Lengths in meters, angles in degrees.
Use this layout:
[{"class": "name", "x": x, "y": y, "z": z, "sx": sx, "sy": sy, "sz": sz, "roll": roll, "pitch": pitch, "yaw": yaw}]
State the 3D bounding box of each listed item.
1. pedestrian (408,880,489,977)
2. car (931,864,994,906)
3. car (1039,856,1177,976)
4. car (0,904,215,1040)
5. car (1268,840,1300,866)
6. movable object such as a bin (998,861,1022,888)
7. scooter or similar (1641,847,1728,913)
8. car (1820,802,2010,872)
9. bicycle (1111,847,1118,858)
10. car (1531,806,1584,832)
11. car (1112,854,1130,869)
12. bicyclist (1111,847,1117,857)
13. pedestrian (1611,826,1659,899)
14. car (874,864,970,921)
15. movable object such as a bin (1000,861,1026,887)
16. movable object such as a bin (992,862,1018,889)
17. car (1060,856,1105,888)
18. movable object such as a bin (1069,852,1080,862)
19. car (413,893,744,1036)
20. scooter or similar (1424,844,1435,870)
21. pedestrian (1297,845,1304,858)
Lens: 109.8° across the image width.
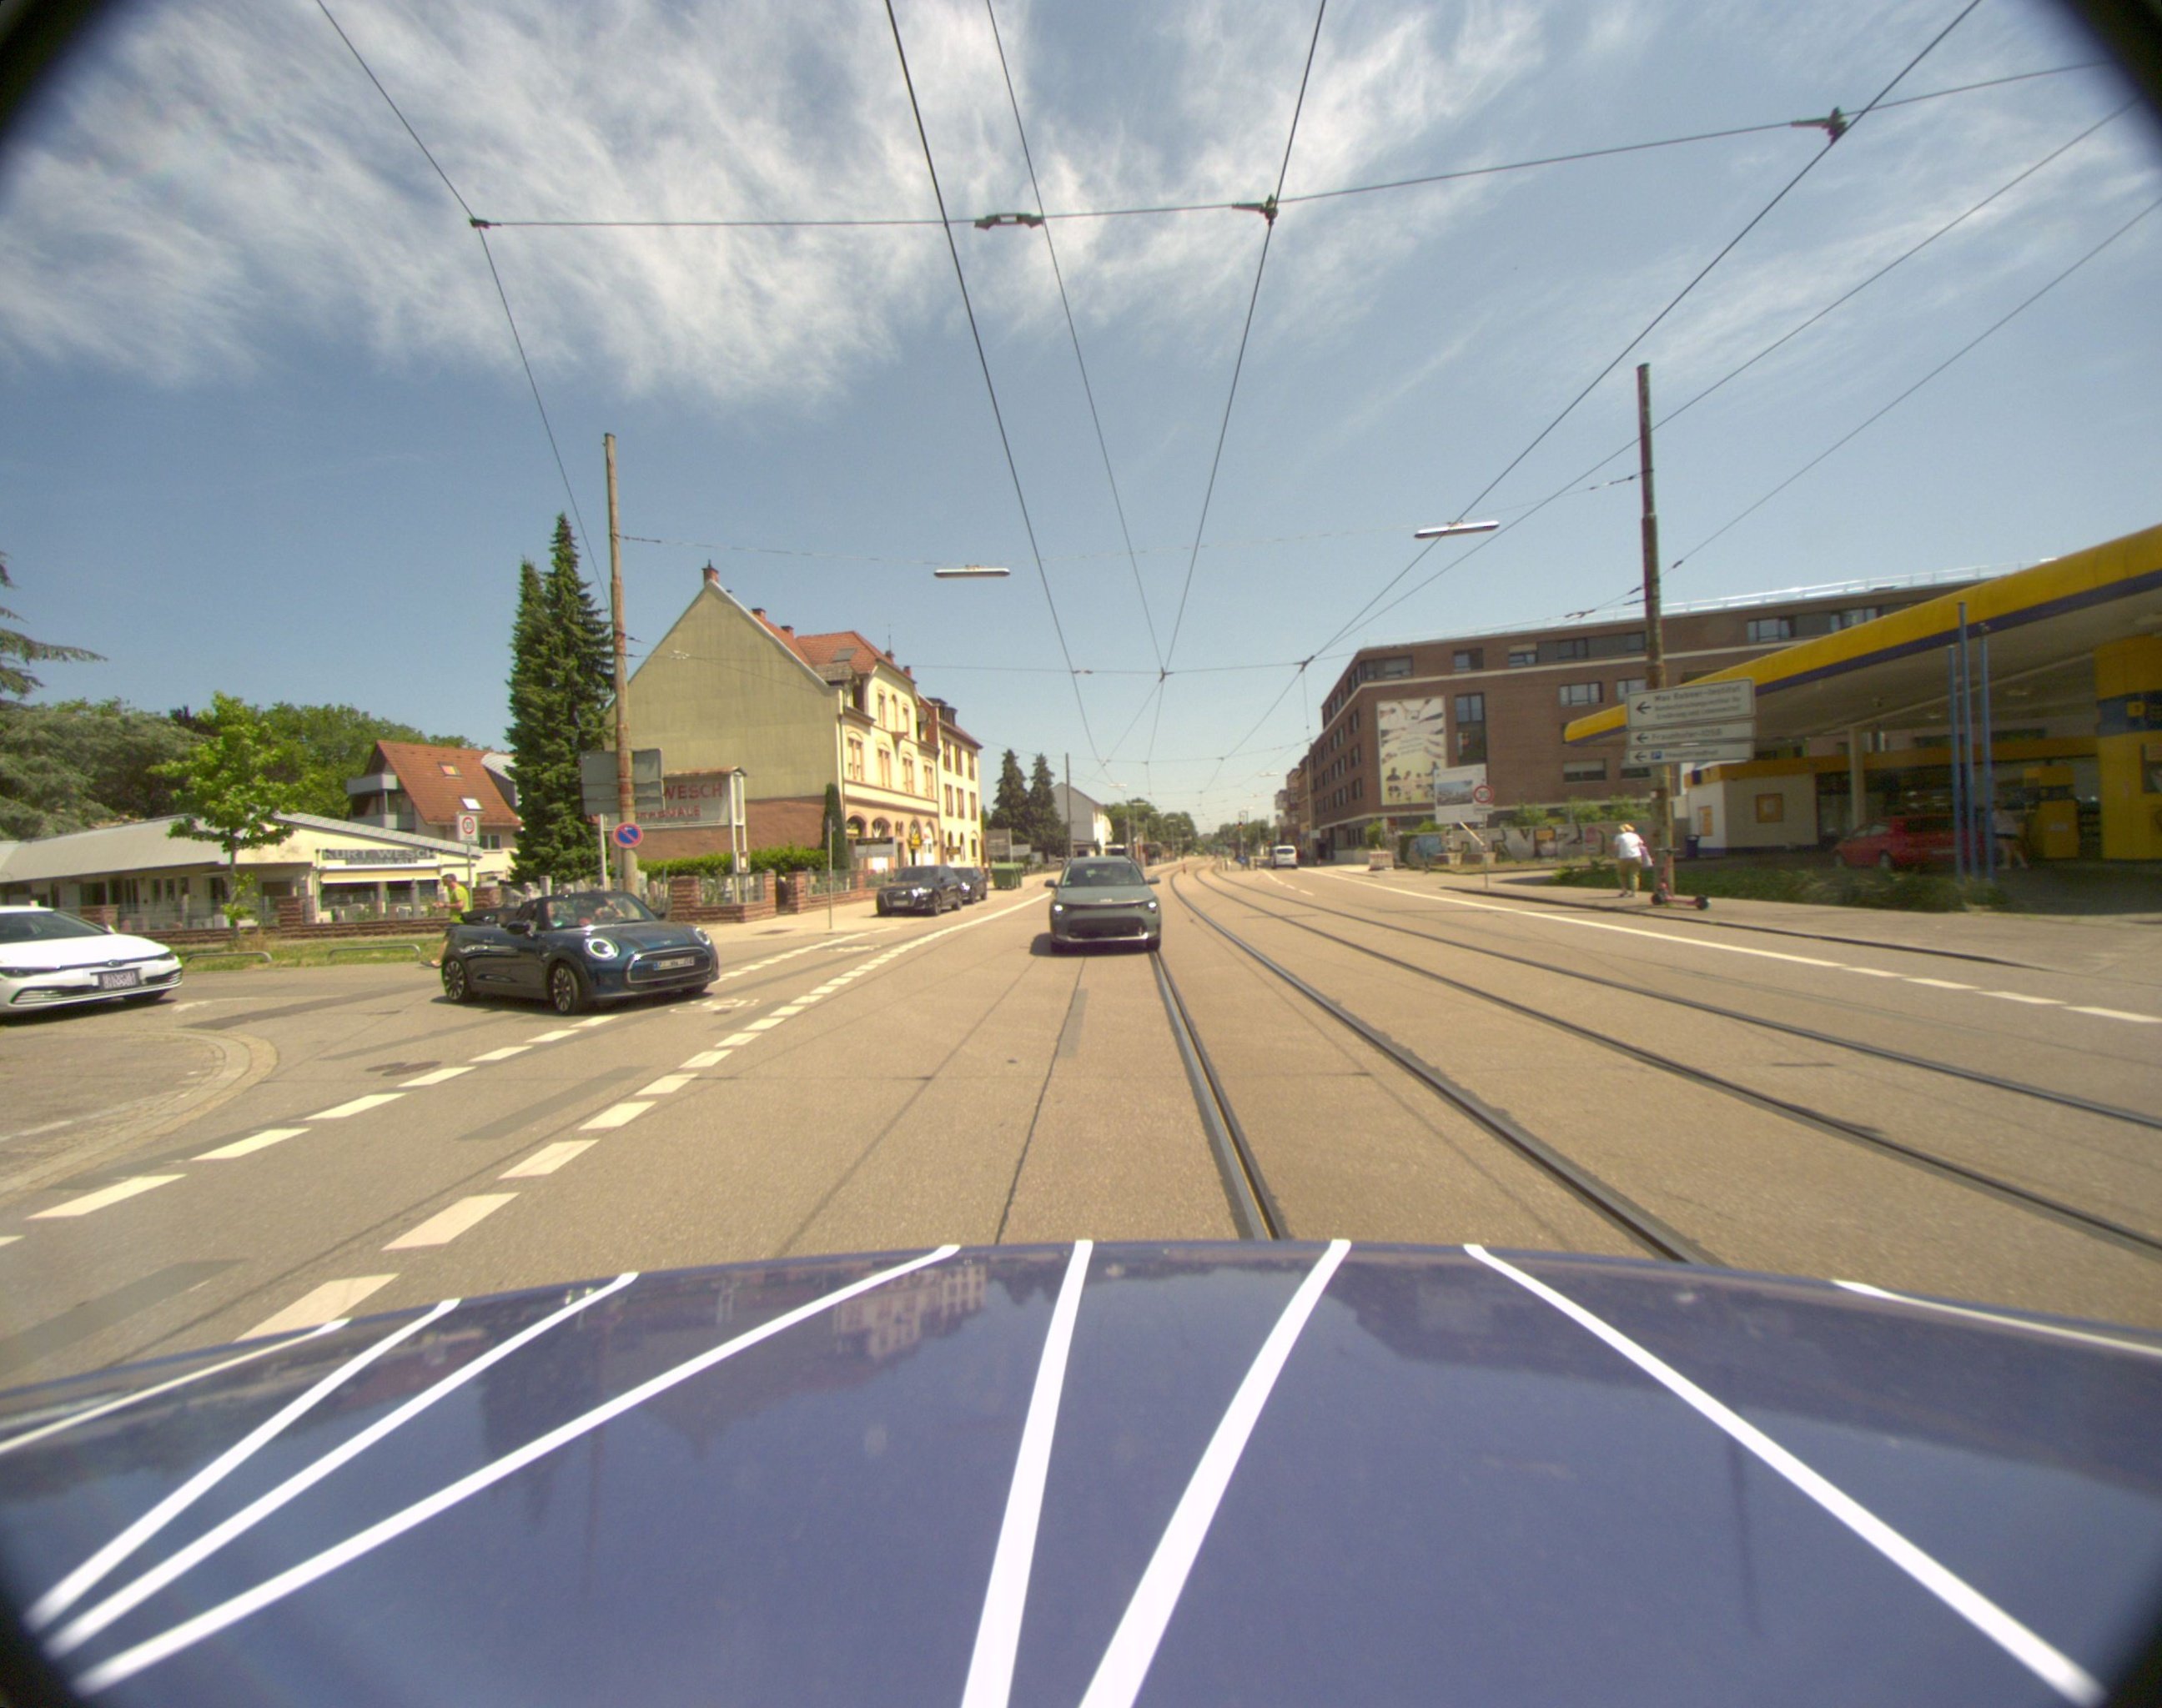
[{"class": "pedestrian", "x": -11.546, "y": 1.329, "z": 13.906, "sx": 0.840, "sy": 1.657, "sz": 0.733, "roll": -3, "pitch": 0, "yaw": -17}, {"class": "car", "x": -5.049, "y": 1.272, "z": 32.906, "sx": 1.776, "sy": 1.539, "sz": 4.468, "roll": -1, "pitch": 1, "yaw": 3}, {"class": "car", "x": 0.437, "y": 0.872, "z": 12.787, "sx": 1.827, "sy": 1.546, "sz": 4.487, "roll": -3, "pitch": 0, "yaw": 2}, {"class": "car", "x": -14.365, "y": 1.526, "z": 9.993, "sx": 4.157, "sy": 1.451, "sz": 1.819, "roll": -3, "pitch": 0, "yaw": 7}, {"class": "car", "x": 15.898, "y": -0.109, "z": 59.750, "sx": 1.997, "sy": 1.789, "sz": 4.555, "roll": -4, "pitch": 1, "yaw": 11}, {"class": "movable object such as a bin", "x": -4.022, "y": 1.155, "z": 43.177, "sx": 1.250, "sy": 1.446, "sz": 1.058, "roll": -1, "pitch": 0, "yaw": 0}, {"class": "scooter or similar", "x": 11.650, "y": 0.482, "z": 14.710, "sx": 0.520, "sy": 1.193, "sz": 1.376, "roll": -4, "pitch": 0, "yaw": 0}, {"class": "car", "x": 21.397, "y": -0.398, "z": 19.747, "sx": 1.827, "sy": 1.495, "sz": 4.206, "roll": -5, "pitch": -2, "yaw": 26}, {"class": "bicycle", "x": 5.957, "y": -0.237, "z": 134.706, "sx": 0.799, "sy": 1.889, "sz": 1.961, "roll": 0, "pitch": 0, "yaw": 18}, {"class": "car", "x": 30.688, "y": -2.224, "z": 49.063, "sx": 1.734, "sy": 1.459, "sz": 4.004, "roll": -4, "pitch": 0, "yaw": 15}, {"class": "car", "x": 4.518, "y": 0.837, "z": 84.854, "sx": 1.748, "sy": 1.546, "sz": 4.489, "roll": -4, "pitch": 0, "yaw": 5}, {"class": "bicyclist", "x": 5.898, "y": -0.328, "z": 134.530, "sx": 0.790, "sy": 1.863, "sz": 0.888, "roll": 0, "pitch": 1, "yaw": 18}, {"class": "pedestrian", "x": 13.154, "y": 0.195, "z": 18.053, "sx": 0.626, "sy": 1.681, "sz": 0.723, "roll": -3, "pitch": 0, "yaw": 12}, {"class": "car", "x": -5.397, "y": 1.246, "z": 26.579, "sx": 1.928, "sy": 1.683, "sz": 5.083, "roll": -1, "pitch": 0, "yaw": 4}, {"class": "movable object such as a bin", "x": -3.937, "y": 1.149, "z": 44.276, "sx": 1.395, "sy": 1.446, "sz": 1.139, "roll": -1, "pitch": 0, "yaw": 0}, {"class": "movable object such as a bin", "x": -4.197, "y": 1.177, "z": 42.101, "sx": 1.327, "sy": 1.446, "sz": 1.058, "roll": -1, "pitch": 0, "yaw": 0}, {"class": "car", "x": 0.153, "y": 0.944, "z": 42.722, "sx": 1.748, "sy": 1.546, "sz": 4.490, "roll": -4, "pitch": 0, "yaw": 9}, {"class": "movable object such as a bin", "x": -0.956, "y": 0.442, "z": 112.627, "sx": 1.389, "sy": 1.472, "sz": 1.152, "roll": -3, "pitch": 0, "yaw": 11}, {"class": "car", "x": -6.354, "y": 1.268, "z": 9.564, "sx": 3.917, "sy": 1.364, "sz": 1.706, "roll": -2, "pitch": 1, "yaw": 27}, {"class": "scooter or similar", "x": 17.611, "y": 0.166, "z": 38.416, "sx": 0.345, "sy": 1.257, "sz": 1.244, "roll": -4, "pitch": 0, "yaw": 28}, {"class": "pedestrian", "x": 27.232, "y": -0.321, "z": 94.282, "sx": 0.604, "sy": 1.586, "sz": 0.715, "roll": -3, "pitch": 0, "yaw": 8}]
